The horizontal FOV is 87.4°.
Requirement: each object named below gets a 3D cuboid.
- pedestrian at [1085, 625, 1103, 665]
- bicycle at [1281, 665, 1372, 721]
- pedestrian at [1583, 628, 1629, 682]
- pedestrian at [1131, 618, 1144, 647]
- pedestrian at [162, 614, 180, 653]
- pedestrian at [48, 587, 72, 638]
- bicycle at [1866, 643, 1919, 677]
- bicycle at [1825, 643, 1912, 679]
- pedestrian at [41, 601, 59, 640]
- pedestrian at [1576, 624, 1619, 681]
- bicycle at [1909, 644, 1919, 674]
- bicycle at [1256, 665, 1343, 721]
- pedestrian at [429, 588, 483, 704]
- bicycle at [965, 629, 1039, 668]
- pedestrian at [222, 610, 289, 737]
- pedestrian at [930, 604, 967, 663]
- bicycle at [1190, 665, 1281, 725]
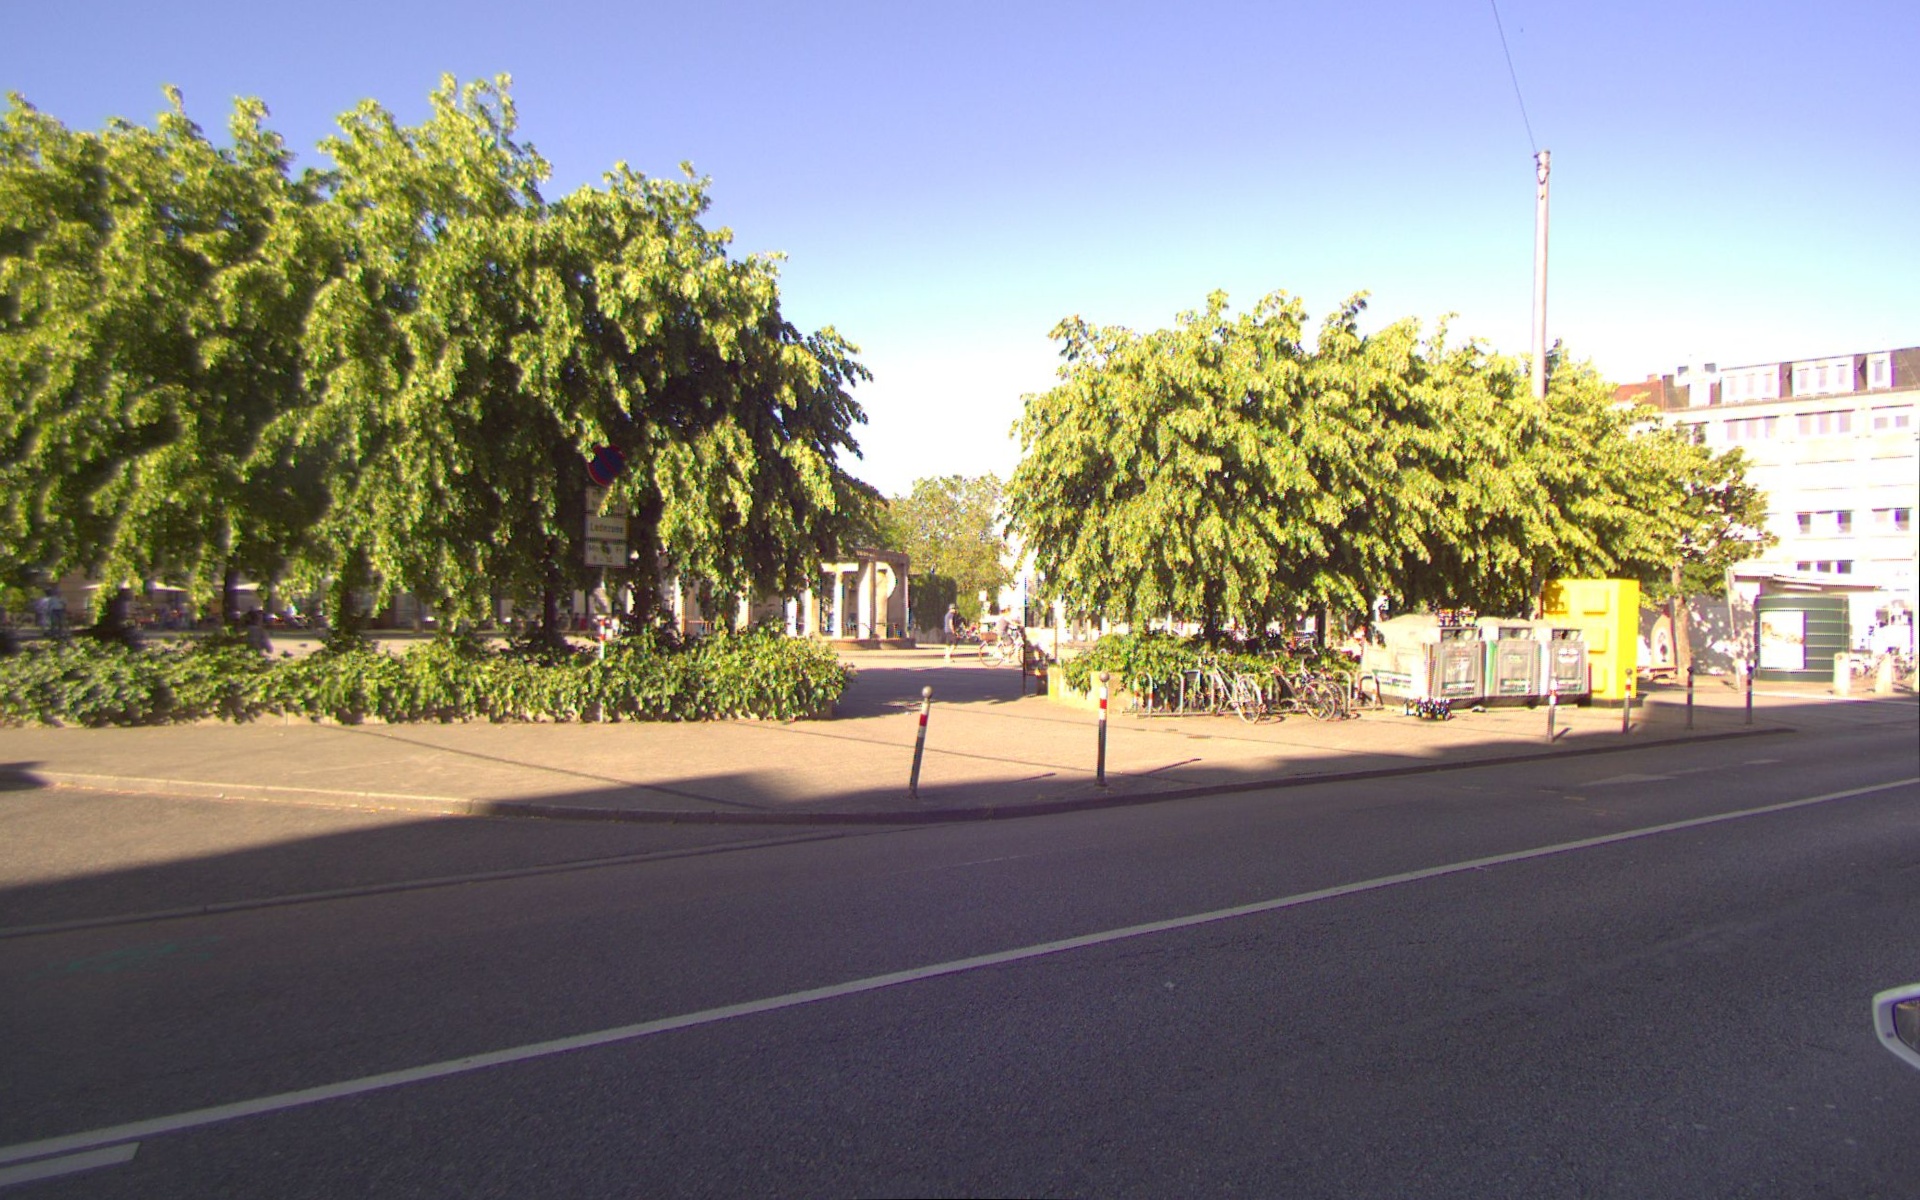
[{"bbox_3d":[6.963,2.339,52.314,0.670,2.040,0.579,2,0,-23],"label":"pedestrian"},{"bbox_3d":[5.964,1.500,16.418,0.468,0.779,1.468,2,0,-27],"label":"bicycle"},{"bbox_3d":[20.384,1.721,31.709,0.727,1.658,0.983,1,0,-26],"label":"pedestrian"},{"bbox_3d":[11.347,2.053,64.128,0.591,1.816,0.581,1,0,-12],"label":"pedestrian"},{"bbox_3d":[-37.188,1.585,47.315,0.579,1.816,0.593,2,0,-44],"label":"pedestrian"},{"bbox_3d":[-32.638,0.457,36.418,0.597,1.816,0.576,2,0,-40],"label":"pedestrian"},{"bbox_3d":[33.170,2.113,35.131,0.796,1.119,2.072,1,-1,-30],"label":"bicycle"},{"bbox_3d":[30.864,2.066,34.157,0.796,1.119,2.072,1,-1,-30],"label":"bicycle"},{"bbox_3d":[-43.035,0.955,47.512,0.597,1.816,0.575,2,0,-44],"label":"pedestrian"},{"bbox_3d":[20.158,1.637,31.779,0.734,1.748,0.898,1,0,-26],"label":"pedestrian"},{"bbox_3d":[37.132,2.247,37.710,0.796,1.119,2.072,1,-1,-30],"label":"bicycle"},{"bbox_3d":[5.454,1.479,16.203,0.435,0.779,1.469,2,0,-25],"label":"bicycle"},{"bbox_3d":[-8.390,0.749,16.716,0.574,1.881,0.598,1,0,41],"label":"pedestrian"},{"bbox_3d":[1.181,1.367,28.297,2.020,1.030,0.503,2,0,-4],"label":"bicycle"},{"bbox_3d":[-10.726,1.099,15.318,0.722,1.881,0.578,2,0,-28],"label":"pedestrian"},{"bbox_3d":[-0.356,1.026,30.691,0.918,1.775,0.728,2,0,-15],"label":"pedestrian"},{"bbox_3d":[4.233,1.449,15.546,0.467,0.779,1.653,2,0,-20],"label":"bicycle"}]
